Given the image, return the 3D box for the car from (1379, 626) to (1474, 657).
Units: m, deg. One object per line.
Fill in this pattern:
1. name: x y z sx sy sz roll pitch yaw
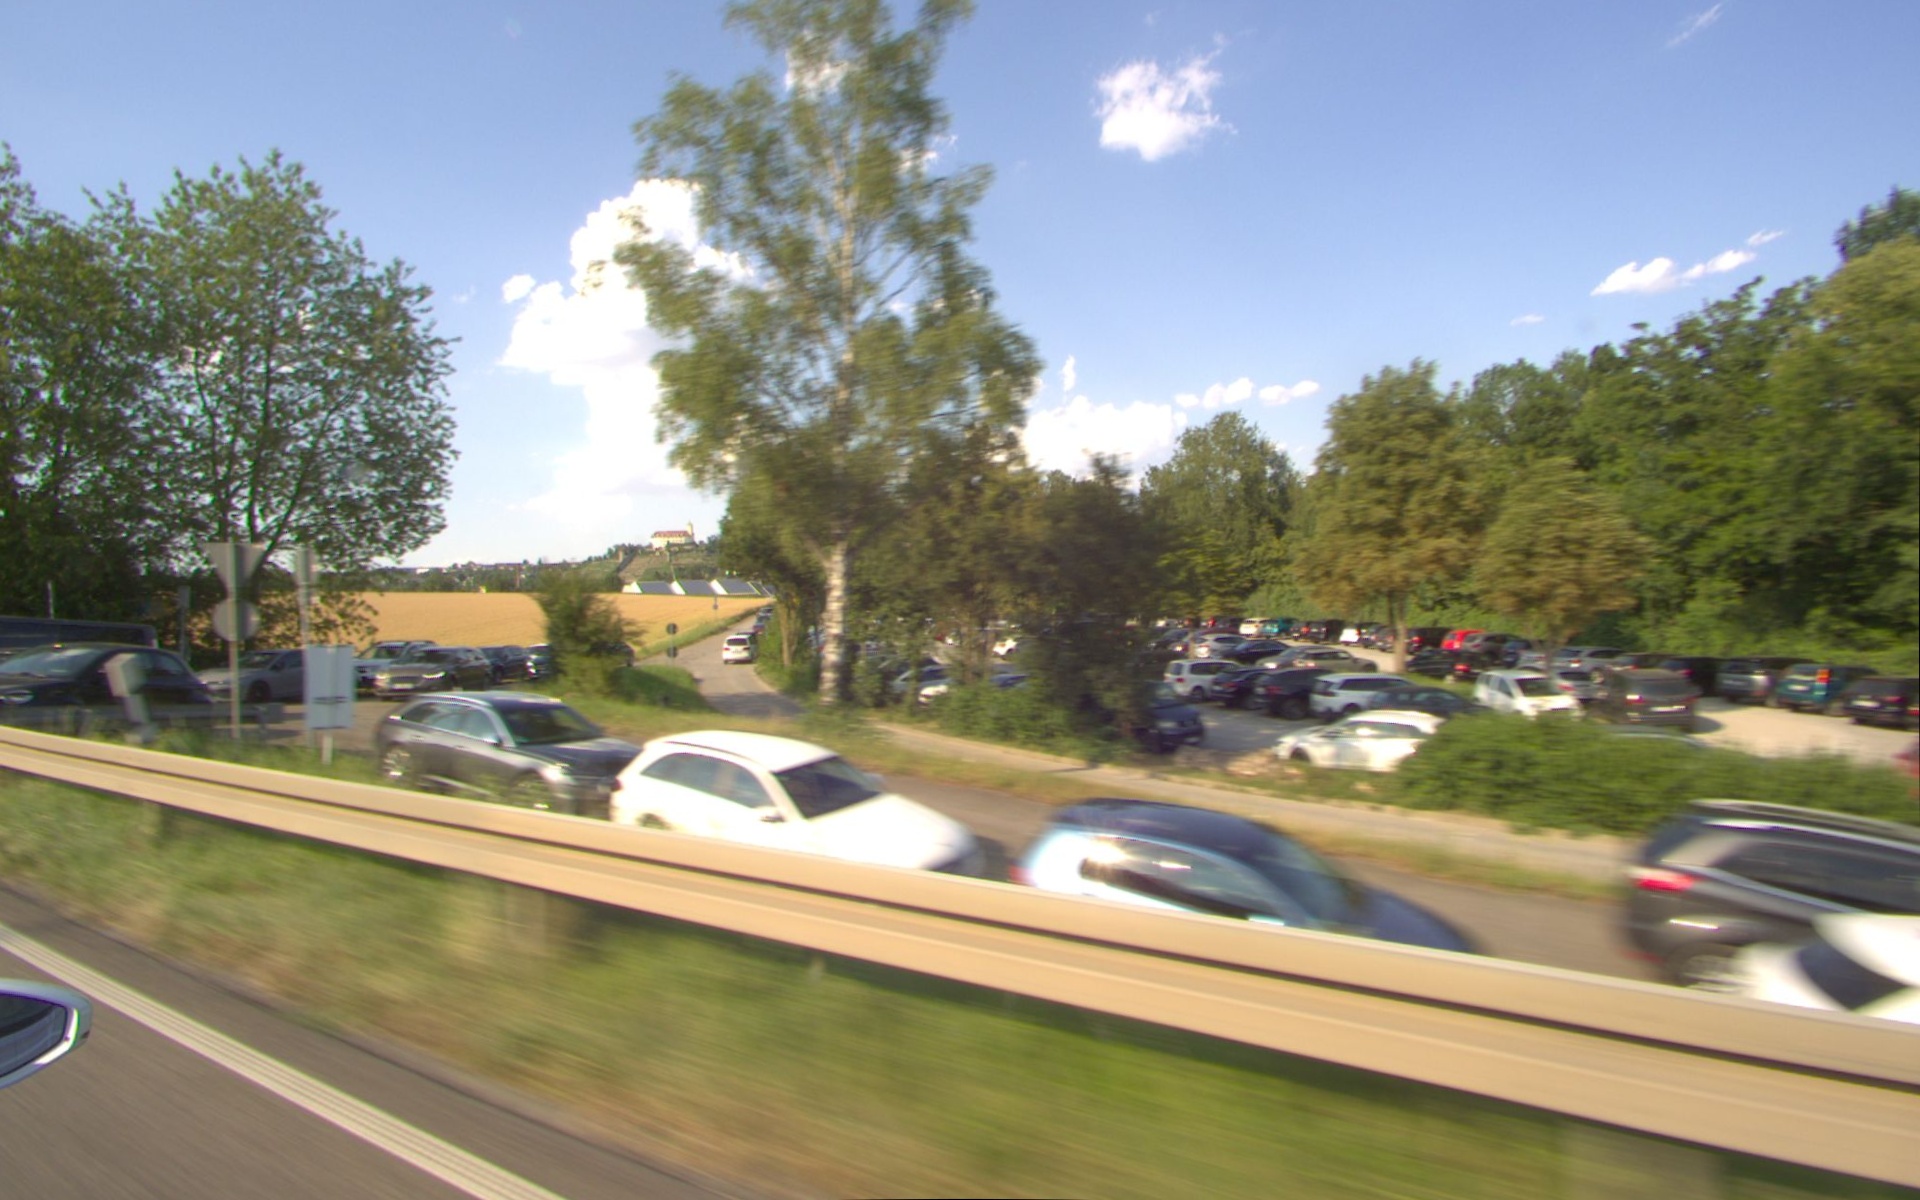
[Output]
1. car: 26.266 2.343 56.435 4.507 1.713 1.804 0 0 4

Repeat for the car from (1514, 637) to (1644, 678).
1. car: 27.009 2.506 43.820 4.507 1.713 1.804 0 0 4

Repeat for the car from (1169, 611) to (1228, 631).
1. car: 19.856 1.749 83.508 4.507 1.713 1.804 0 0 4

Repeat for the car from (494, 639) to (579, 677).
1. car: -18.461 2.491 43.906 1.961 1.526 4.645 0 -2 -3

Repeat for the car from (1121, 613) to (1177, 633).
1. car: 16.718 2.010 88.587 4.514 1.713 1.801 0 0 -15

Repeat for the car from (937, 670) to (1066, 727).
1. car: 1.530 3.506 36.240 4.537 1.713 1.792 0 -1 -35

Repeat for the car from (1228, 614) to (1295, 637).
1. car: 22.604 1.909 75.088 4.507 1.713 1.804 0 0 4

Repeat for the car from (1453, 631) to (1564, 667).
1. car: 27.451 2.444 50.204 4.507 1.713 1.804 0 0 4

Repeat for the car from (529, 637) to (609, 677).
1. car: -15.405 2.227 39.644 1.776 1.459 3.935 1 -2 -3

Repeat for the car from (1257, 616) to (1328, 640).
1. car: 23.879 2.005 72.033 4.507 1.713 1.804 0 0 4

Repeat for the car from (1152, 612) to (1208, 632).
1. car: 18.801 1.856 85.681 4.507 1.713 1.804 0 0 4

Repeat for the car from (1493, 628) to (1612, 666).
1. car: 27.896 2.206 47.237 4.507 1.713 1.804 0 0 4

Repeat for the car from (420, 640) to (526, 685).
1. car: -18.099 2.291 37.463 1.961 1.526 4.531 0 -2 -3

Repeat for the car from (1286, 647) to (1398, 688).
1. car: 17.459 3.069 45.878 4.508 1.713 1.803 0 0 -7

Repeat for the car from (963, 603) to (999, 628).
1. car: 2.137 1.538 98.541 2.317 2.272 5.663 -2 0 14

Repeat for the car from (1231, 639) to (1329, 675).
1. car: 16.507 2.926 51.761 4.508 1.713 1.803 0 0 -7

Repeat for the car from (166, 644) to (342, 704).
1. car: -18.581 1.907 26.576 1.776 1.459 3.732 0 -2 7

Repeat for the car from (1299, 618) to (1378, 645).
1. car: 24.978 2.084 66.162 4.507 1.713 1.804 0 0 4

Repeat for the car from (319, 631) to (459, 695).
1. car: -18.063 1.935 31.931 1.776 1.771 4.217 0 0 5

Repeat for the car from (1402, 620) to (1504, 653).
1. car: 26.285 1.956 53.500 4.507 1.713 1.804 0 0 4

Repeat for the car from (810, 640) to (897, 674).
1. car: -5.811 3.088 54.411 4.513 1.713 1.801 0 0 -14

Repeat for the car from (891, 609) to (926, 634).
1. car: -5.193 2.122 102.510 2.454 2.339 6.076 -2 0 8

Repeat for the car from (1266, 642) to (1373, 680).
1. car: 17.297 2.935 48.264 4.508 1.713 1.803 0 0 -7

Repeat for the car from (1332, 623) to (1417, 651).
1. car: 25.512 2.261 61.737 4.507 1.713 1.804 0 0 4

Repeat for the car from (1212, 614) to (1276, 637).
1. car: 21.930 1.947 77.499 4.507 1.713 1.804 0 0 4

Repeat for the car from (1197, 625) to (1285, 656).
1. car: 16.148 2.325 57.641 4.508 1.713 1.803 0 0 -7

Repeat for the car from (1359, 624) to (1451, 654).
1. car: 25.849 2.237 58.265 4.507 1.713 1.804 0 0 4

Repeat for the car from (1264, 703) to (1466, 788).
1. car: 9.746 3.439 24.279 4.240 1.505 1.681 0 0 40

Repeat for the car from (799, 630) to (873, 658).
1. car: -7.983 2.798 64.337 4.513 1.713 1.801 0 0 -14

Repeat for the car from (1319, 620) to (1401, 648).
1. car: 25.522 2.154 64.001 4.507 1.713 1.804 0 0 4

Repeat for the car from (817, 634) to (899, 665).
1. car: -5.934 2.837 58.057 4.513 1.713 1.801 0 0 -14

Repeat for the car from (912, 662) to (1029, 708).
1. car: 0.397 3.460 41.135 4.513 1.713 1.801 0 0 -14

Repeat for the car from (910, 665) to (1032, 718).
1. car: 0.456 3.477 38.480 4.537 1.713 1.792 0 -1 -35

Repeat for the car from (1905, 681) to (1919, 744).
1. car: 27.163 2.930 25.231 4.689 1.580 1.897 0 1 5

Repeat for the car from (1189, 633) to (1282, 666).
1. car: 14.904 2.666 54.324 4.508 1.713 1.803 0 0 -7
